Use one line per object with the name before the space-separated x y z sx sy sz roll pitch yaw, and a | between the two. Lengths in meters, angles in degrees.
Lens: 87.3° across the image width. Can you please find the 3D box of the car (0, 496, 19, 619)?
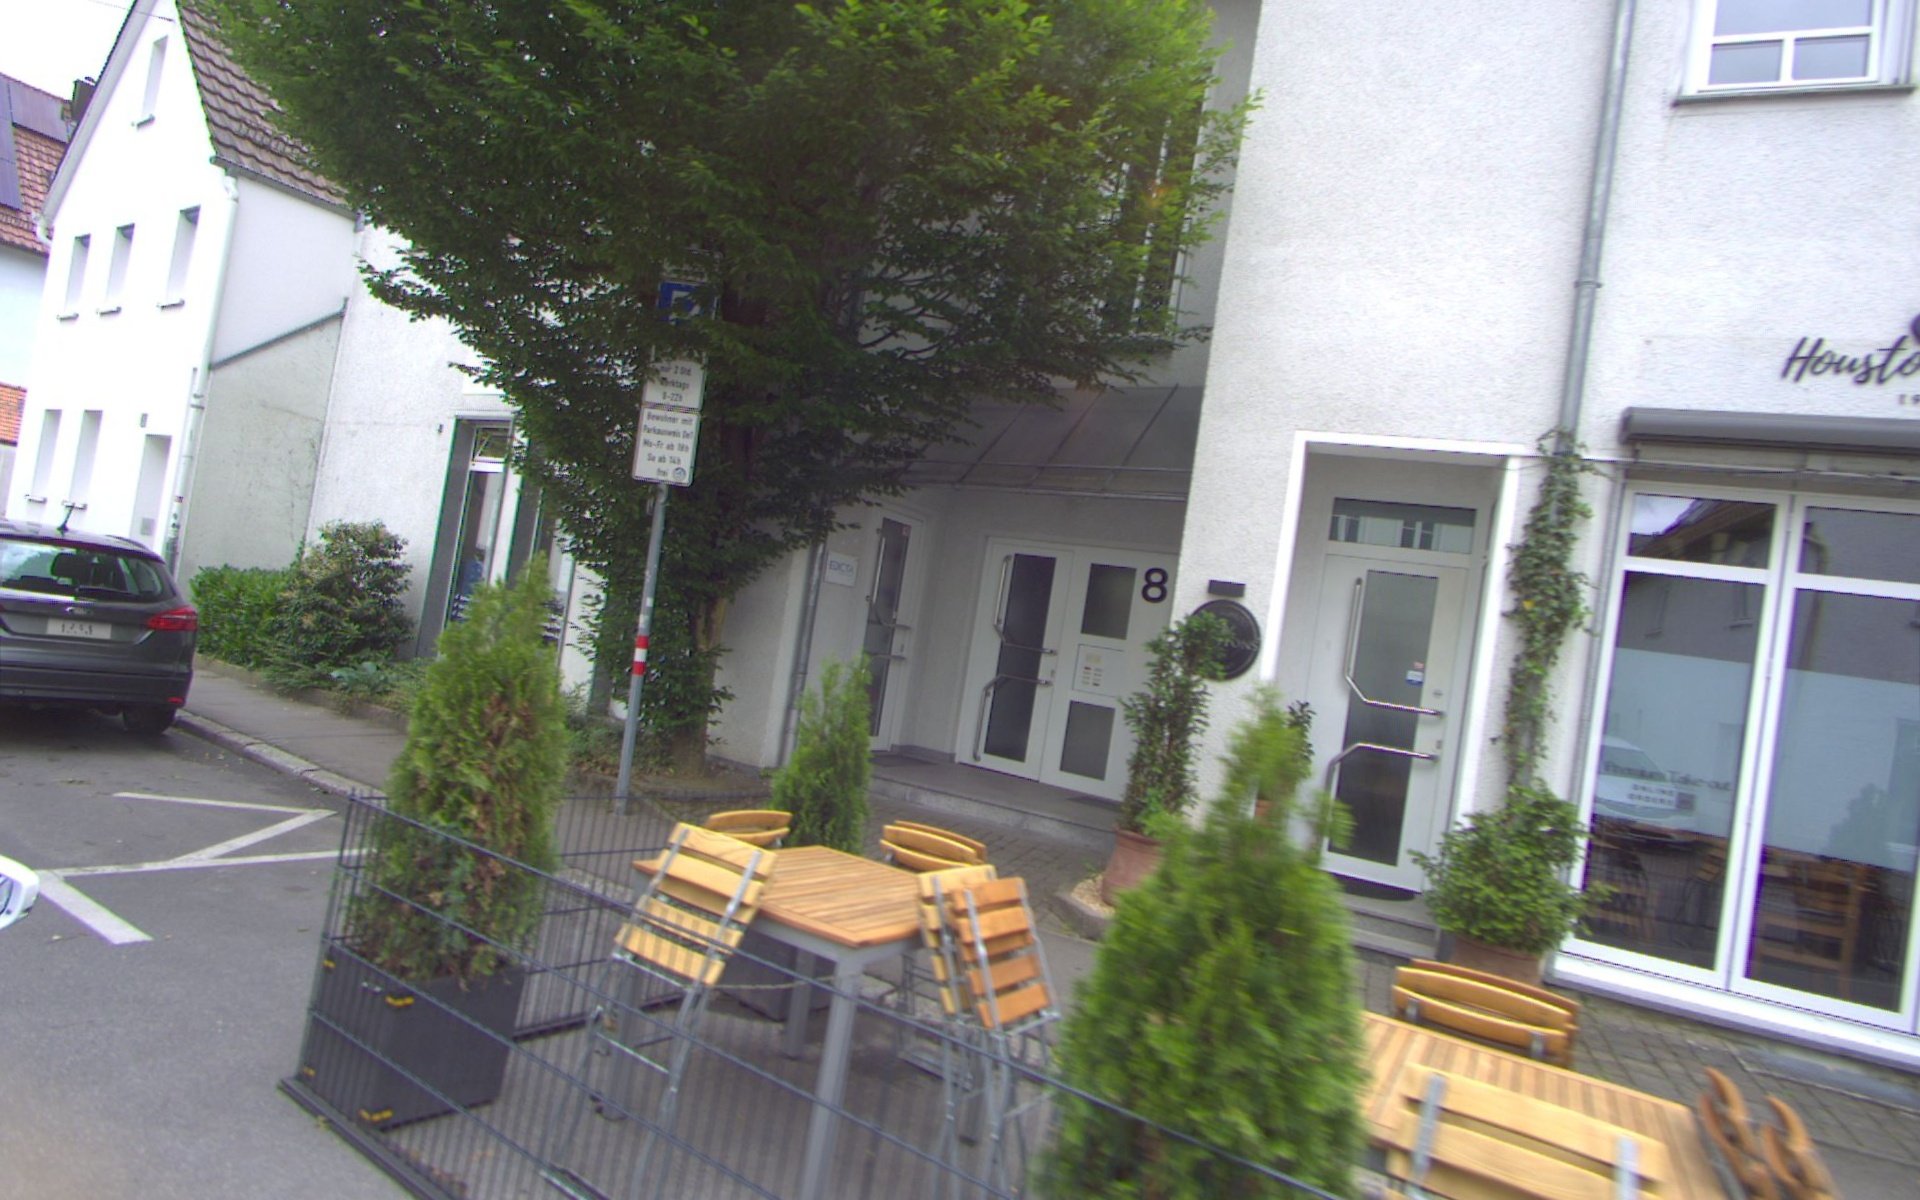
car | -12.733 -0.591 11.324 4.821 1.651 1.867 6 -3 33

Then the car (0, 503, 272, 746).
car | -7.814 0.005 8.149 4.743 1.524 1.952 6 -4 34
